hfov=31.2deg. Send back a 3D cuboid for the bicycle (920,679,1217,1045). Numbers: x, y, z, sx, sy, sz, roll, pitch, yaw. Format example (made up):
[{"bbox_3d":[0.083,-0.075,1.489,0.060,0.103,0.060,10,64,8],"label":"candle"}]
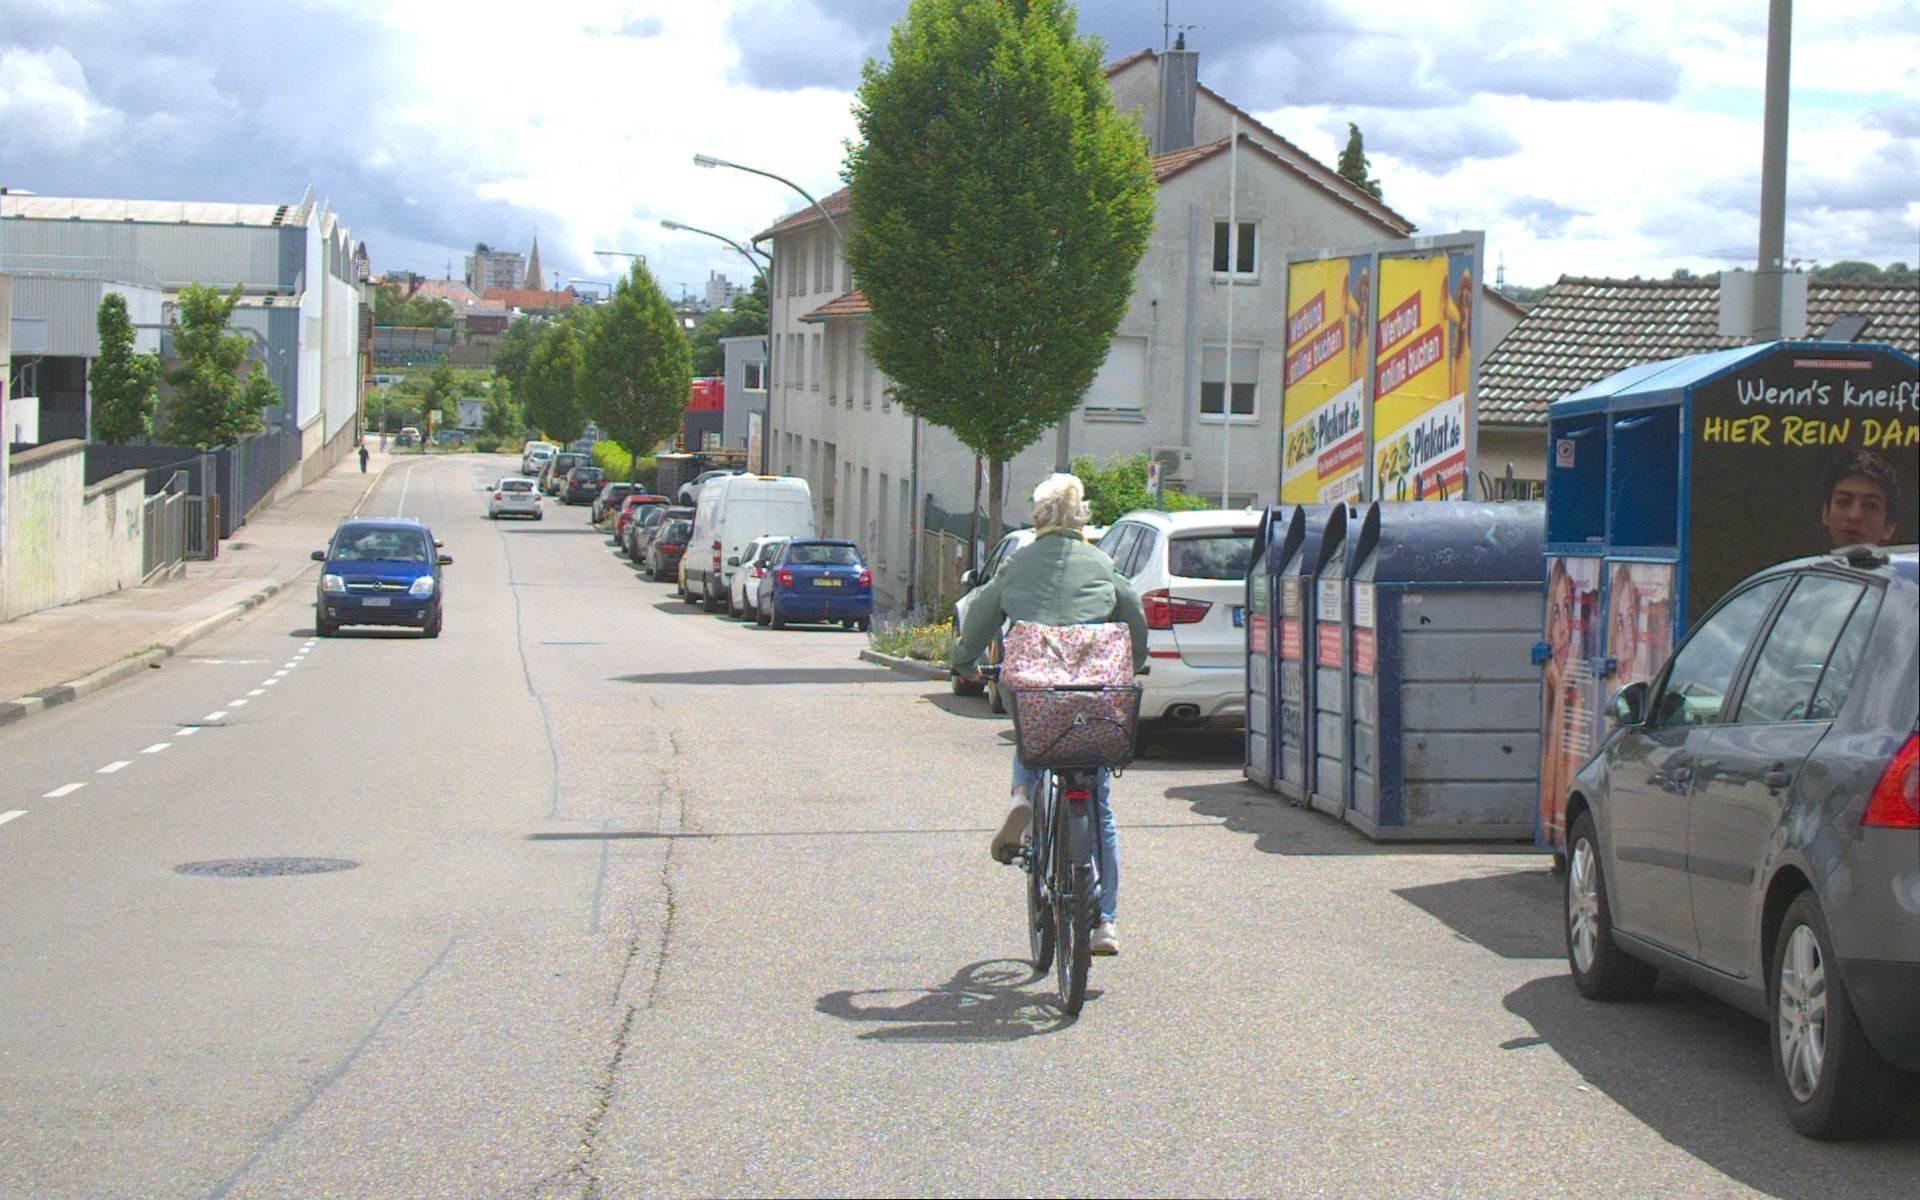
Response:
[{"bbox_3d":[0.323,0.825,11.383,0.740,0.972,1.733,1,3,-6],"label":"bicycle"}]

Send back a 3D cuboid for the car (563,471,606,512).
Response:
[{"bbox_3d":[-15.689,-4.556,143.566,1.679,1.632,4.124,1,2,-7],"label":"car"}]

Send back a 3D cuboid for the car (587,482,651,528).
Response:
[{"bbox_3d":[-11.644,-3.238,117.130,1.790,1.460,4.710,1,2,-10],"label":"car"}]

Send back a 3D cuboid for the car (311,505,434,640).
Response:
[{"bbox_3d":[-8.245,-0.400,48.114,1.626,1.811,3.781,0,1,-11],"label":"car"}]

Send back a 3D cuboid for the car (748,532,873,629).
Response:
[{"bbox_3d":[-2.491,-0.345,56.587,1.566,1.505,4.095,1,1,-9],"label":"car"}]

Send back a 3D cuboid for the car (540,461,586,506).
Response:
[{"bbox_3d":[-18.282,-5.382,158.175,1.868,1.983,5.146,1,2,-9],"label":"car"}]

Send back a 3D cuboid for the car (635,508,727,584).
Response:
[{"bbox_3d":[-6.827,-1.337,83.641,1.704,1.504,5.089,3,3,-10],"label":"car"}]

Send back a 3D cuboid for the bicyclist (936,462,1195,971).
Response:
[{"bbox_3d":[0.337,0.370,11.396,0.739,1.621,0.732,1,1,-5],"label":"bicyclist"}]

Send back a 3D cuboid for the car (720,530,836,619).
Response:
[{"bbox_3d":[-3.288,-0.480,61.449,1.592,1.505,3.791,1,1,-10],"label":"car"}]

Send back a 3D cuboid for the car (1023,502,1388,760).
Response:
[{"bbox_3d":[1.633,0.164,24.428,1.685,1.653,4.481,0,1,-8],"label":"car"}]

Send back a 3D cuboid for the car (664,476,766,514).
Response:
[{"bbox_3d":[-9.829,-4.201,137.846,4.072,1.457,1.721,1,4,43],"label":"car"}]

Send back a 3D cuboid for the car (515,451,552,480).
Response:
[{"bbox_3d":[-25.060,-7.878,201.800,1.700,1.522,3.740,4,2,-13],"label":"car"}]

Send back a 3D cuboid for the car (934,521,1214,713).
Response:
[{"bbox_3d":[0.921,0.101,30.371,1.841,1.560,4.467,-1,1,-6],"label":"car"}]

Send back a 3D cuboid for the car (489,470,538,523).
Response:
[{"bbox_3d":[-15.548,-3.588,119.657,1.566,1.780,3.606,1,1,-9],"label":"car"}]

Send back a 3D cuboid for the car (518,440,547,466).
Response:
[{"bbox_3d":[-26.408,-9.072,212.435,1.701,1.522,3.739,2,2,-7],"label":"car"}]

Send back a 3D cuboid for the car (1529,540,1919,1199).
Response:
[{"bbox_3d":[2.824,0.573,9.791,1.655,1.480,4.045,0,1,-1],"label":"car"}]

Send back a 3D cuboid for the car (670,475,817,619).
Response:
[{"bbox_3d":[-4.329,-1.058,67.520,2.032,2.632,7.285,1,1,-10],"label":"car"}]
